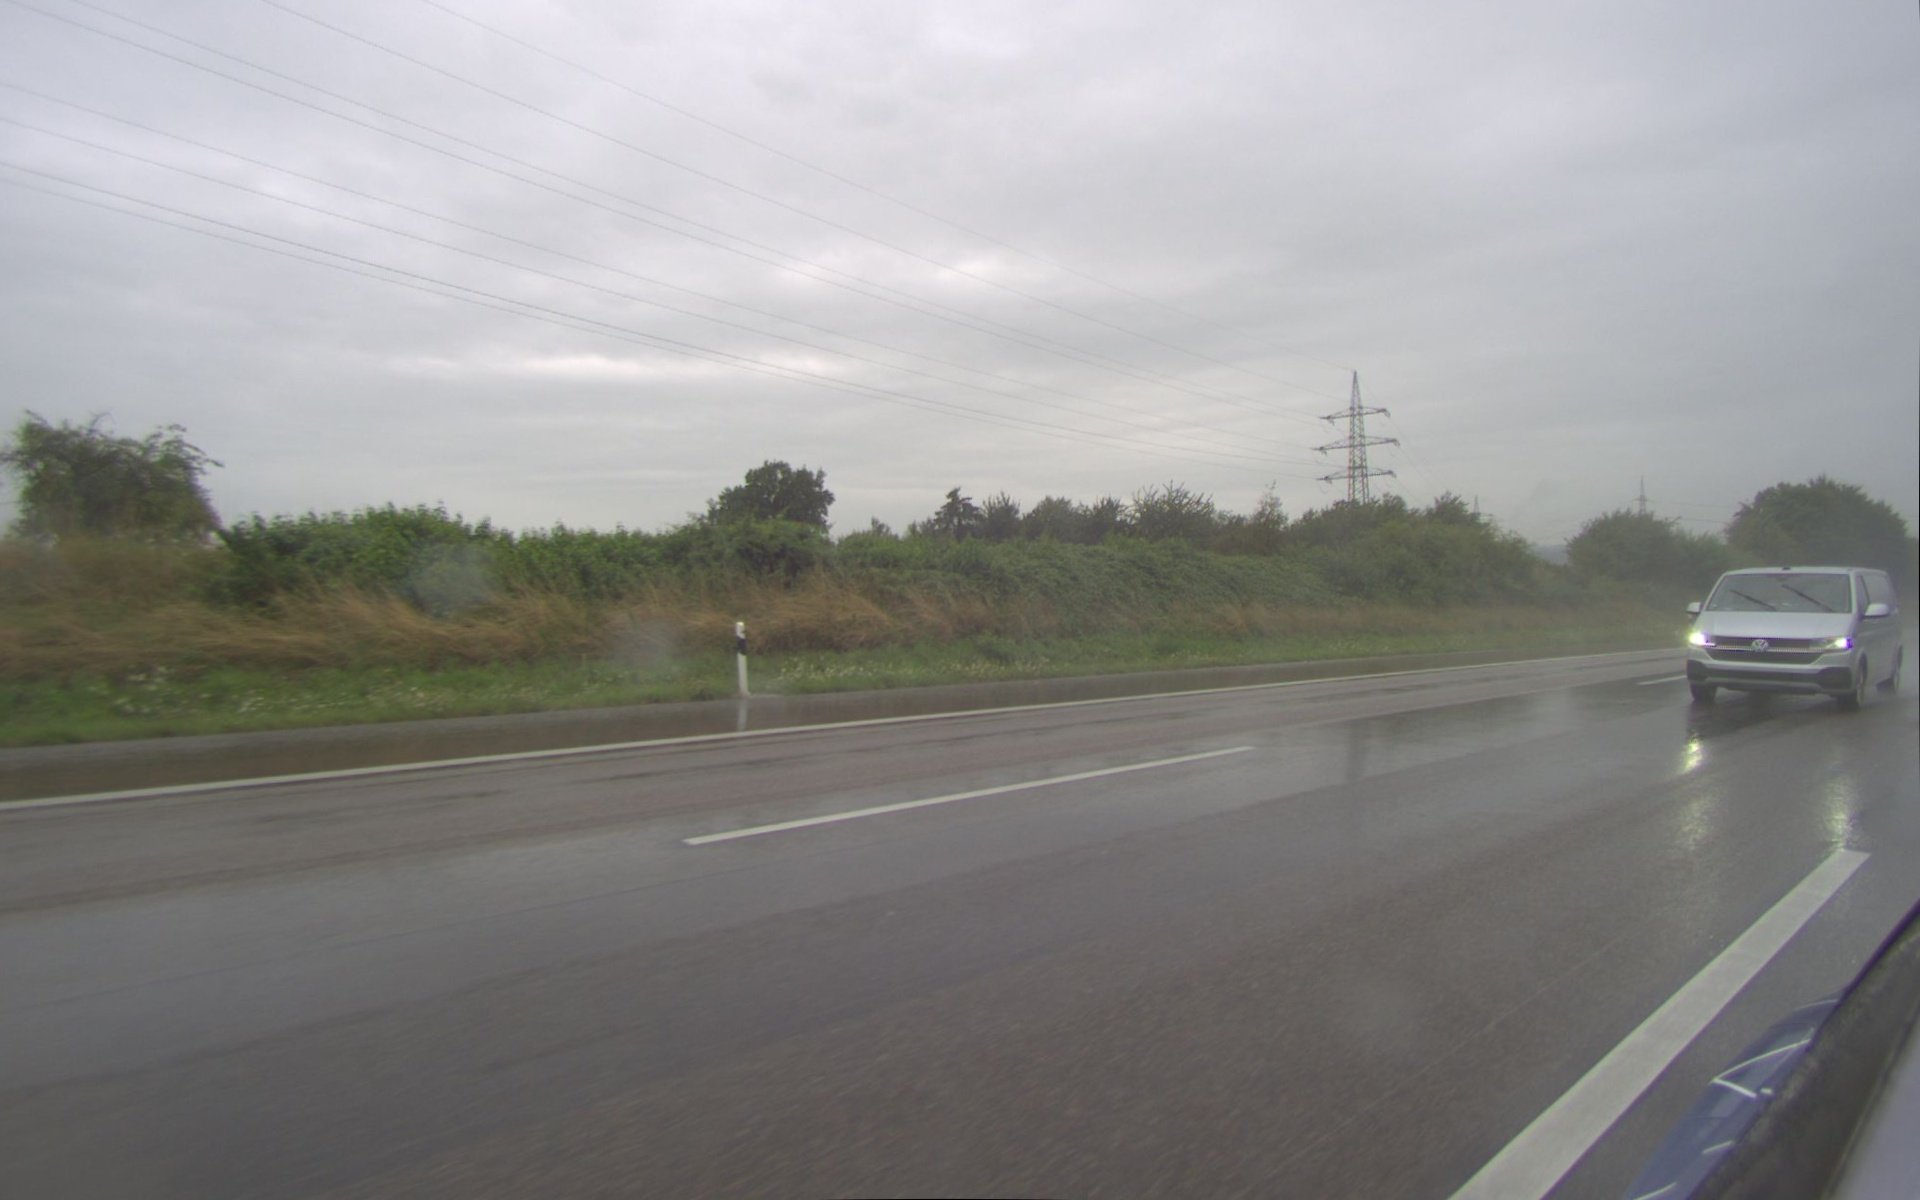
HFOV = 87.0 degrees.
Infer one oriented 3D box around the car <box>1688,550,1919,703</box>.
[{"bbox_3d":[12.664,0.360,14.975,4.920,1.908,1.890,0,-2,-40],"label":"car"}]
